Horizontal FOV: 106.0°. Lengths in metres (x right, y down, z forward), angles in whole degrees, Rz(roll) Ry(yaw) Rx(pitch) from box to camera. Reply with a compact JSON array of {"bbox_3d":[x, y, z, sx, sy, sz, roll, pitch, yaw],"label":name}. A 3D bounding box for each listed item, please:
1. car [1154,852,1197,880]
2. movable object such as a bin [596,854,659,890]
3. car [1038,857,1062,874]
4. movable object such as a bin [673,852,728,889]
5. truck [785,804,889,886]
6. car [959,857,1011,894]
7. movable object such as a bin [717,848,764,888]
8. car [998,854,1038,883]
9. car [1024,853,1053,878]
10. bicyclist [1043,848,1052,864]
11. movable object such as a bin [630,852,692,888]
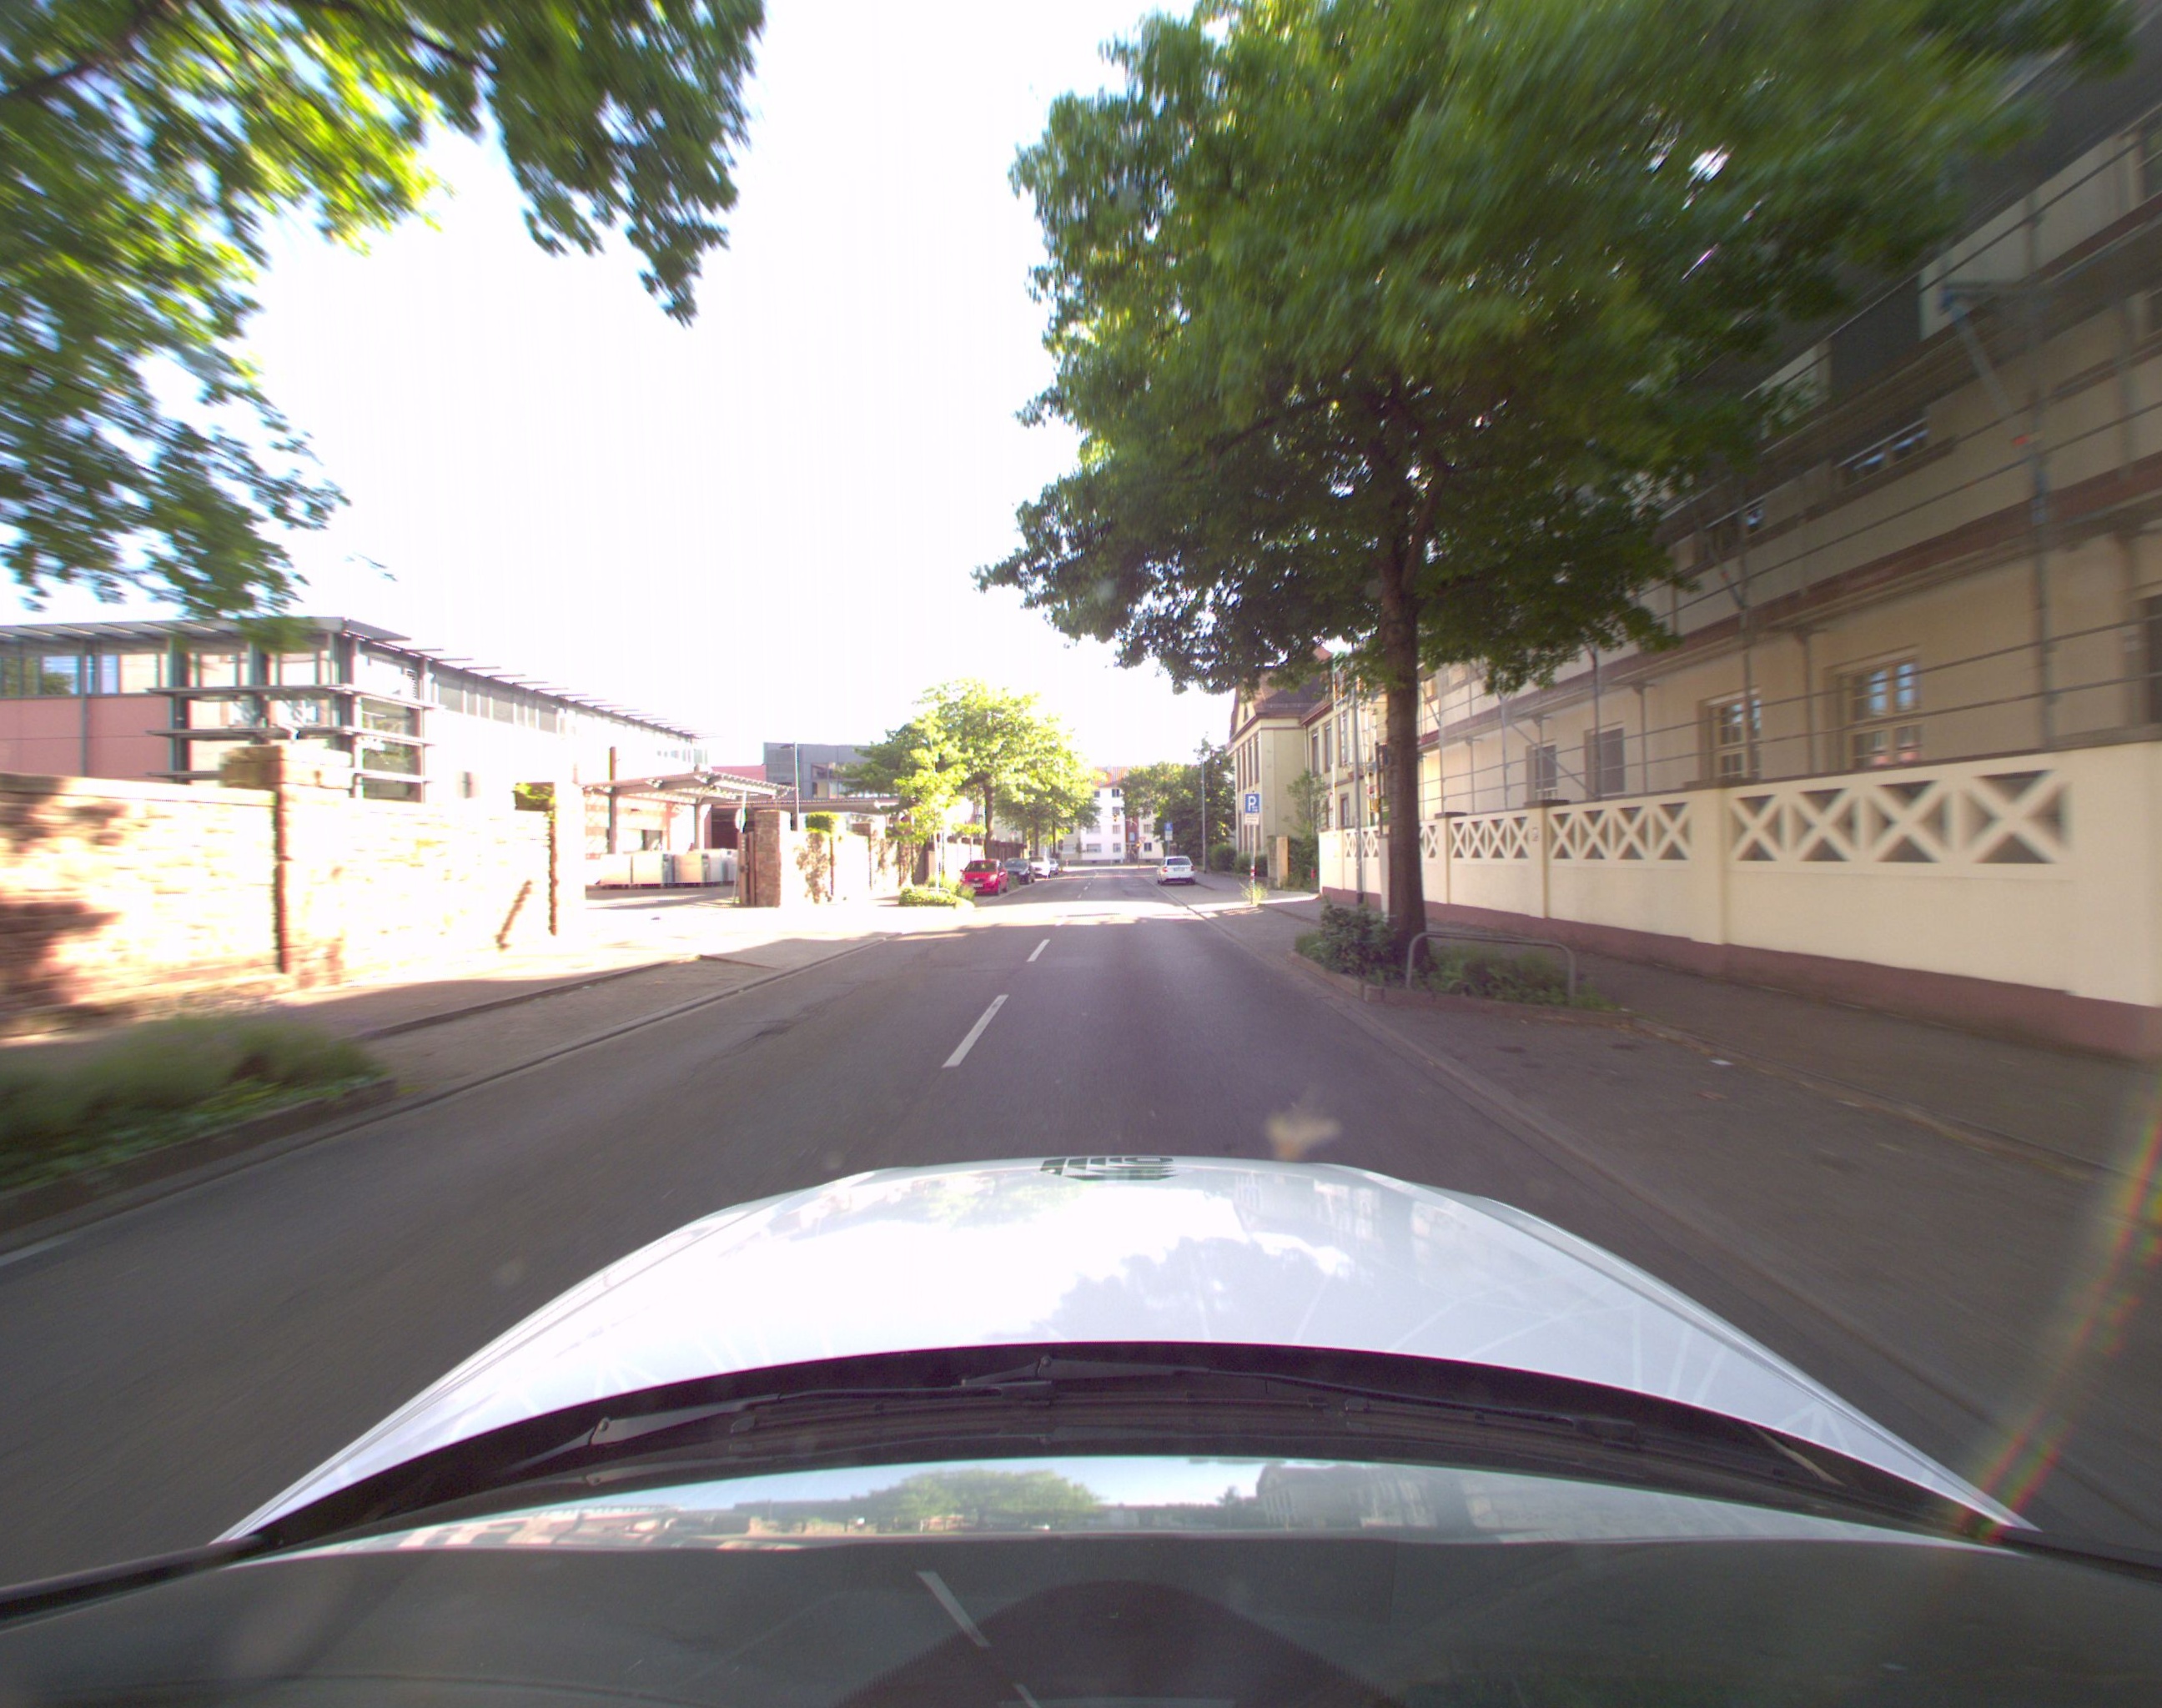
[{"bbox_3d":[4.839,0.601,42.234,1.826,1.323,4.497,-2,0,1],"label":"car"},{"bbox_3d":[-20.173,0.771,36.317,1.403,1.538,2.554,0,0,0],"label":"movable object such as a bin"},{"bbox_3d":[-2.688,0.992,71.191,1.720,1.475,4.480,0,0,2],"label":"car"},{"bbox_3d":[-17.246,0.715,37.010,1.322,1.598,2.554,0,0,0],"label":"movable object such as a bin"},{"bbox_3d":[-11.992,-0.399,40.813,2.722,3.711,7.431,0,0,2],"label":"truck"},{"bbox_3d":[-4.040,0.863,34.703,1.602,1.459,3.710,0,0,2],"label":"car"},{"bbox_3d":[-16.504,0.675,39.534,1.187,1.864,2.440,0,0,2],"label":"movable object such as a bin"},{"bbox_3d":[-3.662,0.838,47.879,1.730,1.592,4.110,-1,0,3],"label":"car"},{"bbox_3d":[-3.019,0.817,58.677,1.714,1.683,4.351,-1,0,1],"label":"car"},{"bbox_3d":[-3.813,0.218,92.162,0.793,1.757,0.605,-1,-1,-40],"label":"bicyclist"},{"bbox_3d":[-18.699,0.703,36.359,1.403,1.538,2.554,0,0,0],"label":"movable object such as a bin"}]
